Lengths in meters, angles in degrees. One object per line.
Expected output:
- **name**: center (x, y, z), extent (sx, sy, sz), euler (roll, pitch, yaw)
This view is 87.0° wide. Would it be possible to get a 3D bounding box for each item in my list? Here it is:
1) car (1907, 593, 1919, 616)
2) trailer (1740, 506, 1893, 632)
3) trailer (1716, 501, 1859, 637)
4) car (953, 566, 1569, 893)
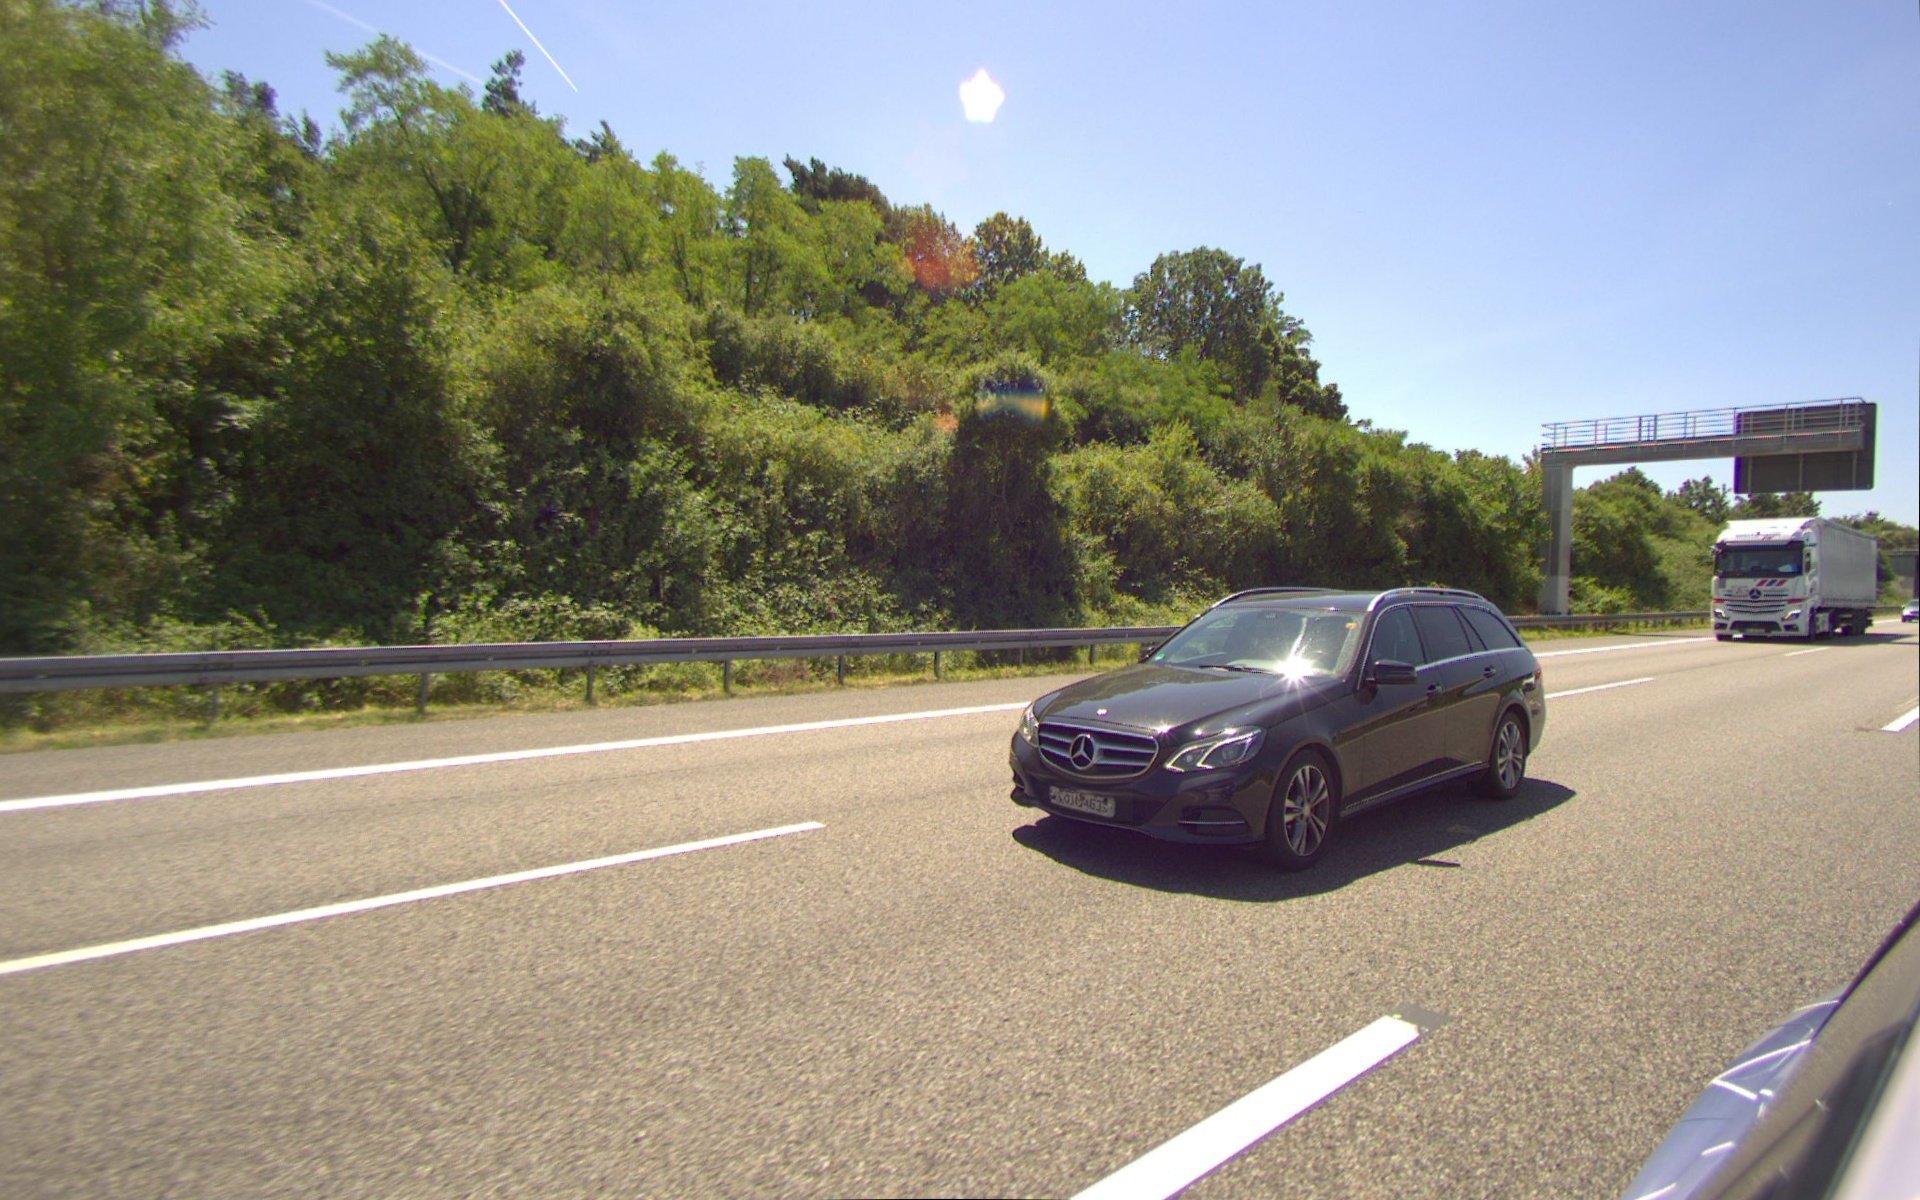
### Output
- **car**: center (60.094, 0.270, 62.611), extent (4.480, 1.429, 1.838), euler (0, 0, -42)
- **trailer**: center (32.980, -1.081, 38.677), extent (12.963, 4.154, 2.733), euler (0, 1, -42)
- **trailer**: center (28.098, -0.989, 34.258), extent (6.672, 4.154, 2.717), euler (0, 1, -42)
- **car**: center (2.313, 0.566, 6.950), extent (4.655, 1.524, 1.845), euler (-1, 1, -41)
